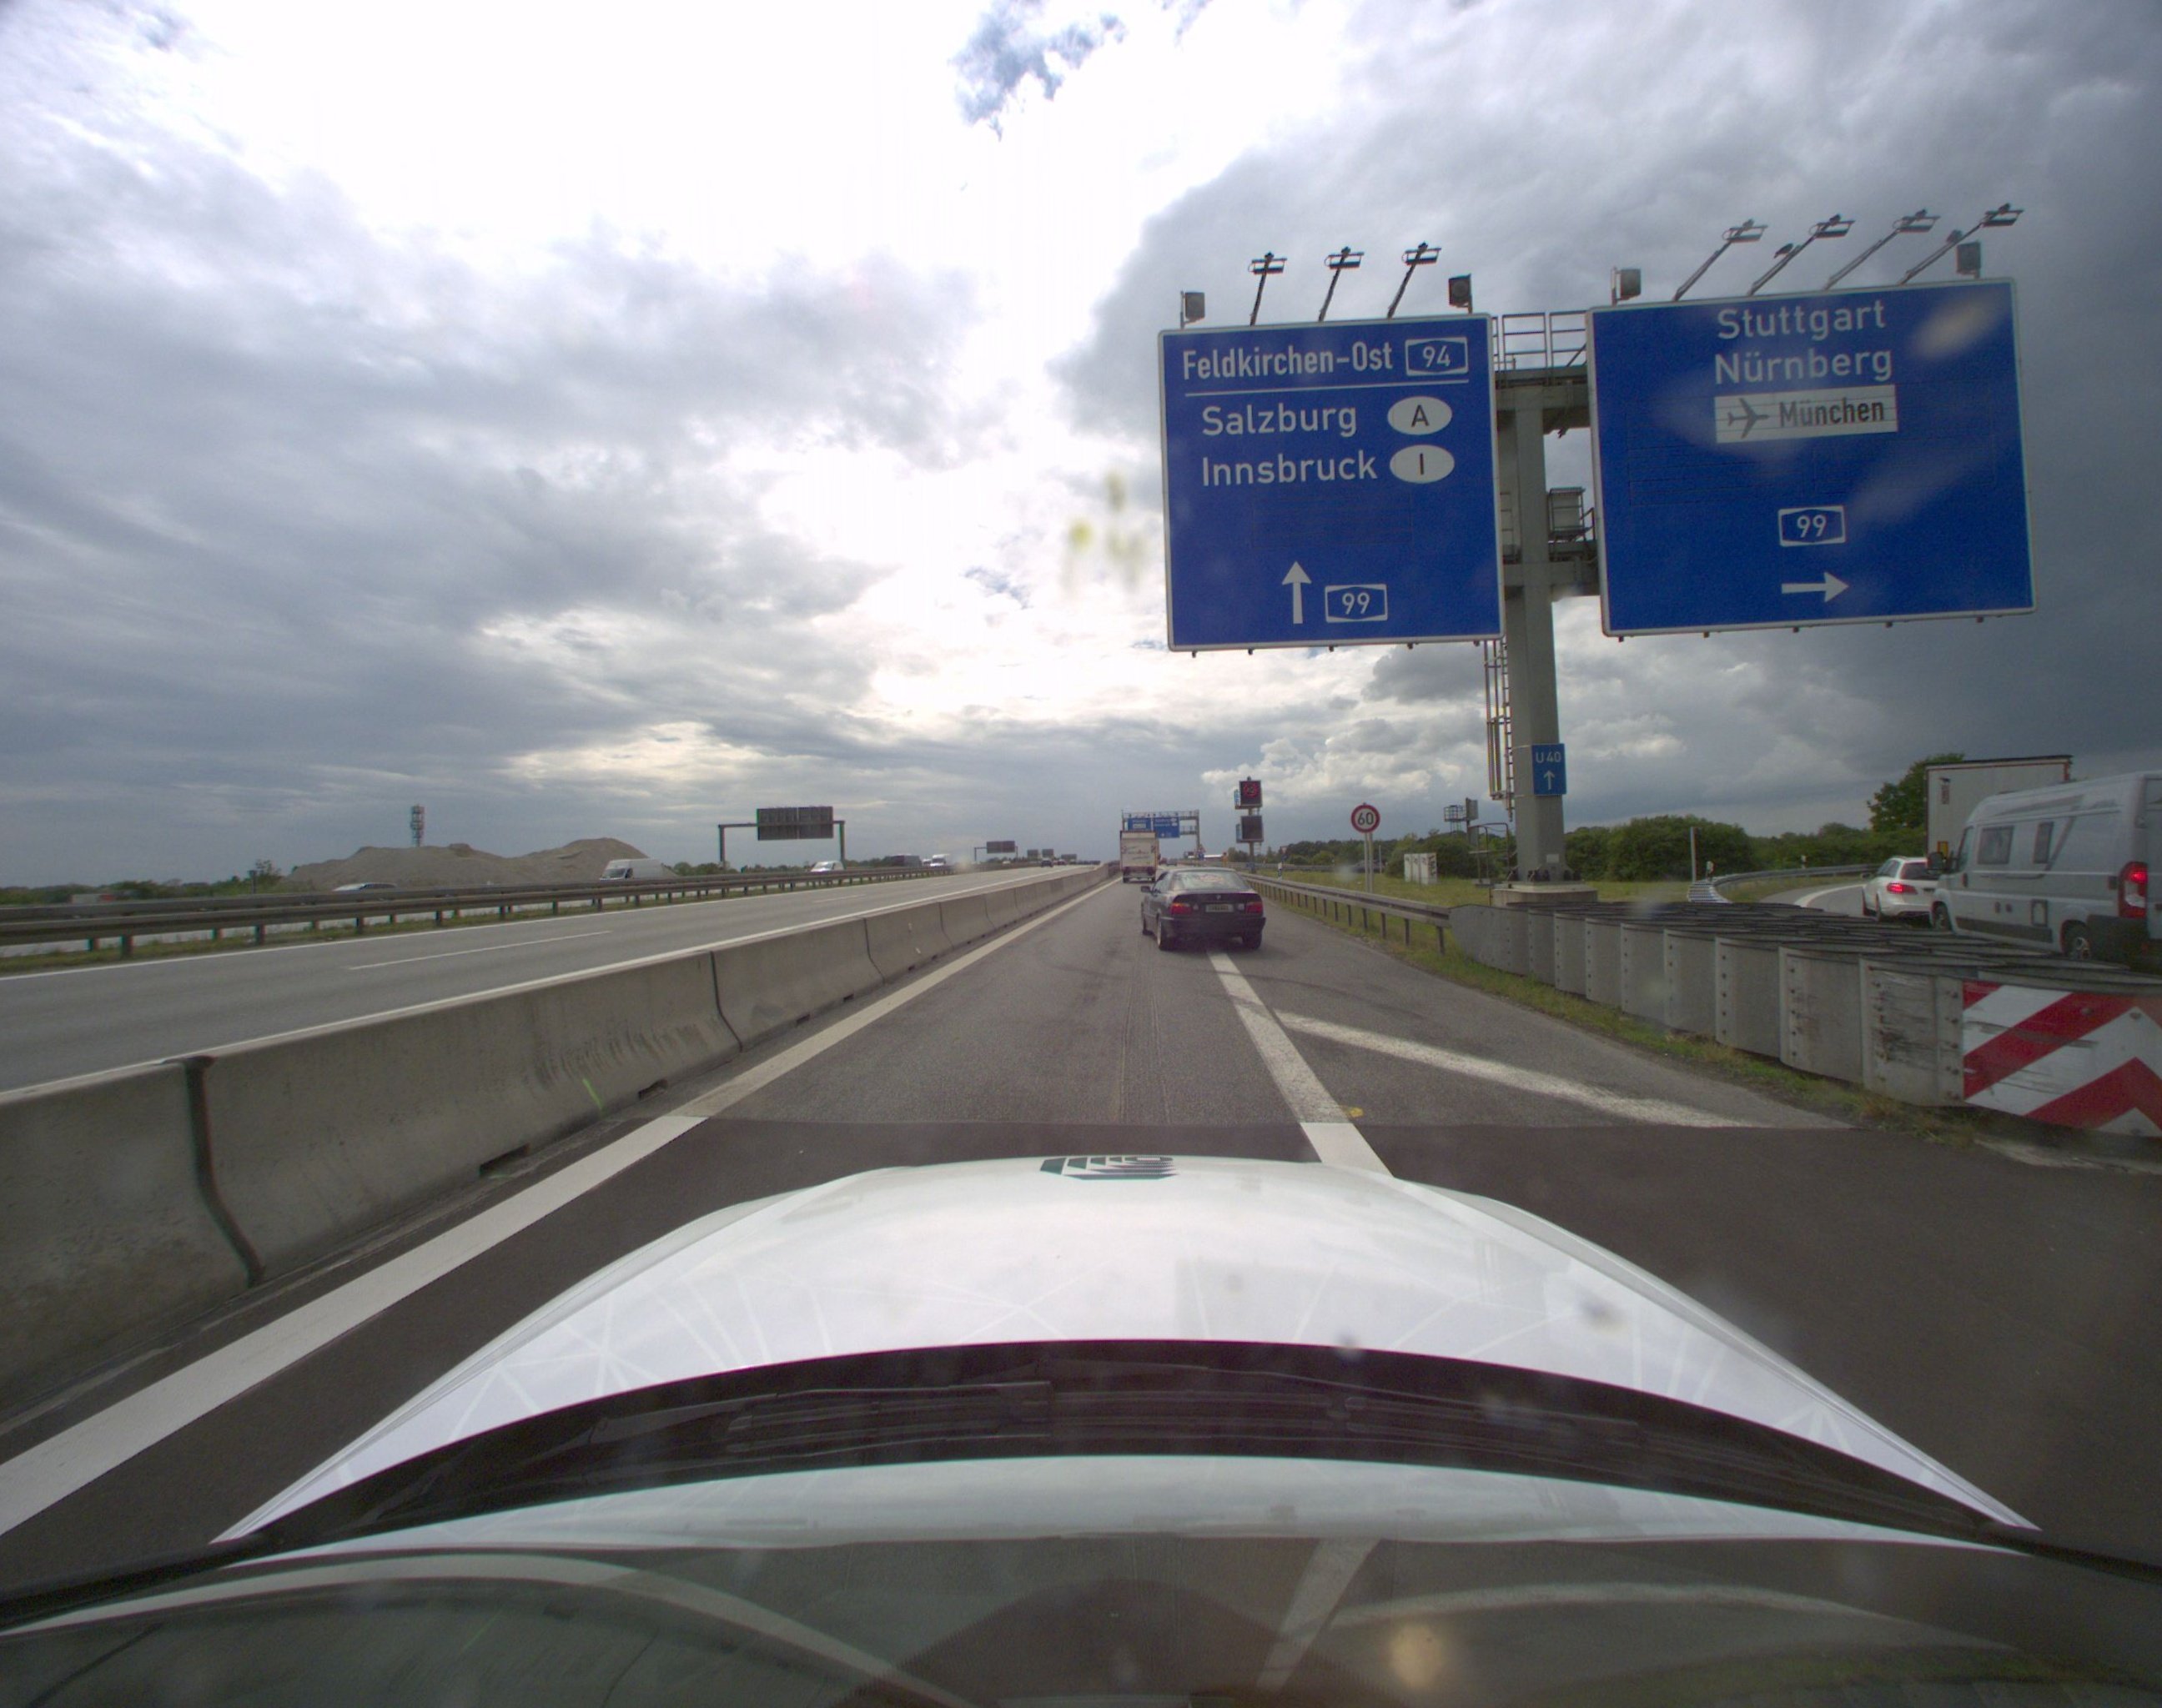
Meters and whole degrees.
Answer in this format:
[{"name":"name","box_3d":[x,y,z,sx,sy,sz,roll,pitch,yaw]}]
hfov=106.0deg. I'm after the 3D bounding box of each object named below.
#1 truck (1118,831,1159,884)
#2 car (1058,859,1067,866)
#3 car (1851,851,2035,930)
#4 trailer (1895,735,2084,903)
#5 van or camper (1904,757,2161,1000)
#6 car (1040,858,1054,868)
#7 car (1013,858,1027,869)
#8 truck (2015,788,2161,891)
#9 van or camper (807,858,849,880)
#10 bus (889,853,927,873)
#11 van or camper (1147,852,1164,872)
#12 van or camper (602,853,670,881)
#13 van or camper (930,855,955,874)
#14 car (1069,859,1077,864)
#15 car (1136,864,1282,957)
[{"name":"truck","box_3d":[3.609,0.244,50.894,2.393,3.090,6.377,0,0,4]},{"name":"car","box_3d":[-4.276,1.940,187.528,1.986,1.541,4.001,0,0,2]},{"name":"car","box_3d":[18.879,0.716,18.110,2.185,1.501,4.817,-1,-1,39]},{"name":"trailer","box_3d":[28.841,-0.857,25.983,13.102,4.193,3.301,0,-1,-42]},{"name":"van or camper","box_3d":[13.609,0.246,10.866,2.271,2.568,6.199,-1,-1,32]},{"name":"car","box_3d":[-5.869,1.486,141.344,1.986,1.662,4.386,0,0,2]},{"name":"car","box_3d":[-10.036,1.546,133.896,1.659,1.706,4.006,0,0,5]},{"name":"truck","box_3d":[50.066,-0.644,39.832,9.003,4.615,3.257,0,-1,-24]},{"name":"van or camper","box_3d":[-21.913,1.301,70.717,1.985,1.829,4.351,0,0,3]},{"name":"bus","box_3d":[-31.245,1.653,147.782,3.199,3.442,13.005,0,0,4]},{"name":"van or camper","box_3d":[9.378,1.025,103.398,1.990,2.371,6.133,-1,0,4]},{"name":"van or camper","box_3d":[-36.016,1.031,66.179,2.179,2.172,5.811,0,0,2]},{"name":"van or camper","box_3d":[-19.658,1.432,116.057,2.178,2.619,6.908,0,0,2]},{"name":"car","box_3d":[-2.225,2.058,226.753,1.986,1.398,4.001,0,0,2]},{"name":"car","box_3d":[2.082,0.878,14.404,1.778,1.378,4.133,0,0,-3]}]
